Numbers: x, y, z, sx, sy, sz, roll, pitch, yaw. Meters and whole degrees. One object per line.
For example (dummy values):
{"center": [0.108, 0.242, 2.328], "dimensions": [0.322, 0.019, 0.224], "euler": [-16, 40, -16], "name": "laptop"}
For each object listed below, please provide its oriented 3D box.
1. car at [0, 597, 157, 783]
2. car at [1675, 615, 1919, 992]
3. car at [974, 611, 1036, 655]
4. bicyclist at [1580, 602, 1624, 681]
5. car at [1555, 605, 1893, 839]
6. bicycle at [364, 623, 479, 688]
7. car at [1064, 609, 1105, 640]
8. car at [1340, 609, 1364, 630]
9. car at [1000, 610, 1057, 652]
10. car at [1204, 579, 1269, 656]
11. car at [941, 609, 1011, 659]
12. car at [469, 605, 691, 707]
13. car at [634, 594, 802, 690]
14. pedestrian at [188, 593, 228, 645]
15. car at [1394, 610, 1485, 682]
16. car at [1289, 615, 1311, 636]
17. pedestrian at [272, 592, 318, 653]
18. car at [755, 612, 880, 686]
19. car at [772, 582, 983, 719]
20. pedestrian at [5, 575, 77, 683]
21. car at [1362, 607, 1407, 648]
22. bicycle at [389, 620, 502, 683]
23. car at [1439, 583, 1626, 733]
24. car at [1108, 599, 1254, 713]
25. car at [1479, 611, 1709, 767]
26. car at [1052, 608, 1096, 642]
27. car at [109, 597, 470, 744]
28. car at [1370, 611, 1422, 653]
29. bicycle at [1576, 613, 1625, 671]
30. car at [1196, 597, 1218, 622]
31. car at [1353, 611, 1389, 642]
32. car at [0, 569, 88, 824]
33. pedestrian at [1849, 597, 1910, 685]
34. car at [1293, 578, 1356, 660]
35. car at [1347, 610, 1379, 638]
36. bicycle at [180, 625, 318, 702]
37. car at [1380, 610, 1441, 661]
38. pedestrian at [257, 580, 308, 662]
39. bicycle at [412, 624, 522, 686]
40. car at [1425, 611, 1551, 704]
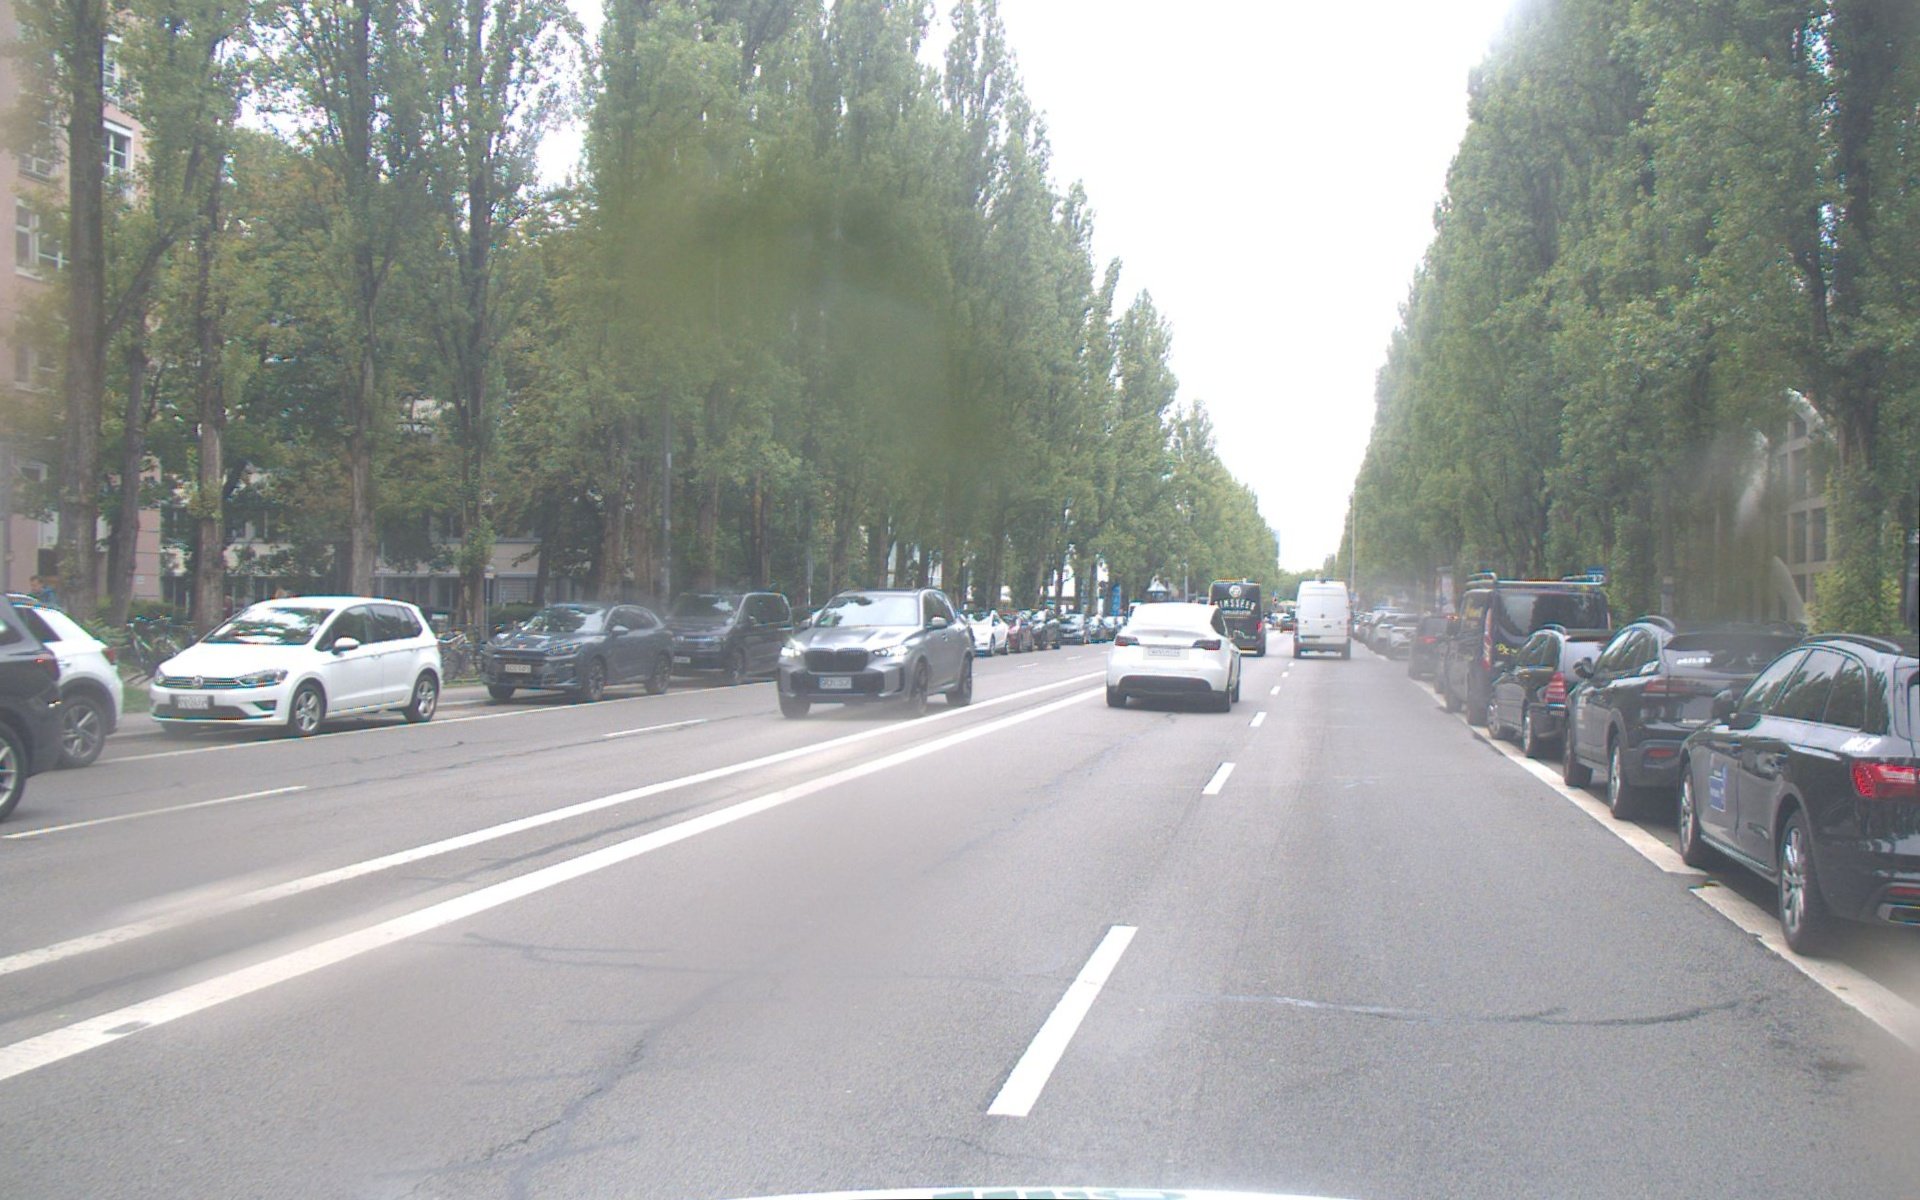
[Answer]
{"center": [-9.033, 0.772, 13.926], "dimensions": [1.762, 1.569, 4.238], "euler": [-1, 0, 14], "name": "car"}
{"center": [4.917, 0.835, 8.393], "dimensions": [1.713, 1.452, 4.451], "euler": [2, 0, 15], "name": "car"}
{"center": [1.778, 1.259, 64.484], "dimensions": [1.724, 1.606, 3.975], "euler": [0, 0, 12], "name": "car"}
{"center": [13.687, 0.886, 35.271], "dimensions": [0.706, 1.647, 0.757], "euler": [-1, 0, 9], "name": "bicyclist"}
{"center": [6.006, 0.855, 13.462], "dimensions": [1.706, 1.553, 3.911], "euler": [2, 0, 13], "name": "car"}
{"center": [-9.932, 1.008, 30.514], "dimensions": [1.940, 1.144, 0.676], "euler": [0, 0, 13], "name": "bicycle"}
{"center": [6.551, 1.267, 86.841], "dimensions": [1.724, 1.606, 3.464], "euler": [0, -1, 11], "name": "car"}
{"center": [33.180, 1.662, 139.987], "dimensions": [1.705, 1.671, 3.954], "euler": [2, 0, 10], "name": "car"}
{"center": [2.928, 1.282, 69.970], "dimensions": [1.724, 1.606, 3.976], "euler": [0, 1, 12], "name": "car"}
{"center": [10.137, 0.622, 60.320], "dimensions": [2.031, 2.600, 5.937], "euler": [2, 0, 11], "name": "car"}
{"center": [0.599, 1.167, 58.830], "dimensions": [1.724, 1.606, 3.976], "euler": [0, 1, 12], "name": "car"}
{"center": [-6.299, 0.881, 27.967], "dimensions": [1.951, 1.569, 4.328], "euler": [0, 0, 13], "name": "car"}
{"center": [-4.922, 0.822, 34.376], "dimensions": [1.951, 1.829, 4.765], "euler": [0, 0, 11], "name": "car"}
{"center": [-24.466, 0.615, 53.837], "dimensions": [0.797, 1.691, 0.898], "euler": [0, -1, 13], "name": "pedestrian"}
{"center": [11.680, 1.091, 40.465], "dimensions": [1.705, 1.619, 3.954], "euler": [2, 0, 10], "name": "car"}
{"center": [28.643, 2.124, 139.486], "dimensions": [1.705, 1.671, 3.954], "euler": [2, 0, 10], "name": "car"}
{"center": [-18.493, 0.619, 45.987], "dimensions": [0.797, 1.691, 0.898], "euler": [0, -1, 13], "name": "pedestrian"}
{"center": [-3.353, 1.126, 39.815], "dimensions": [1.951, 1.635, 4.356], "euler": [0, 0, 10], "name": "car"}
{"center": [-1.049, 0.672, 23.739], "dimensions": [1.951, 1.746, 4.763], "euler": [-1, -1, 10], "name": "car"}
{"center": [-15.097, 0.466, 27.179], "dimensions": [0.692, 1.744, 0.732], "euler": [0, -1, 13], "name": "pedestrian"}
{"center": [19.983, 1.268, 77.961], "dimensions": [1.705, 1.818, 3.954], "euler": [2, 0, 10], "name": "car"}
{"center": [-9.716, 0.968, 31.251], "dimensions": [1.940, 1.144, 0.676], "euler": [0, 0, 13], "name": "bicycle"}
{"center": [8.445, 0.800, 24.817], "dimensions": [1.870, 1.958, 5.044], "euler": [2, 0, 10], "name": "car"}
{"center": [3.648, 0.827, 26.604], "dimensions": [1.951, 1.603, 4.642], "euler": [2, 0, 12], "name": "car"}
{"center": [7.250, 0.937, 19.316], "dimensions": [1.705, 1.553, 4.238], "euler": [2, 0, 10], "name": "car"}
{"center": [5.765, 1.234, 83.200], "dimensions": [1.724, 1.606, 3.464], "euler": [0, 0, 12], "name": "car"}
{"center": [-7.936, 0.768, 20.098], "dimensions": [1.951, 1.569, 4.328], "euler": [0, 0, 12], "name": "car"}
{"center": [17.411, 1.255, 66.181], "dimensions": [1.705, 1.573, 3.954], "euler": [2, 0, 10], "name": "car"}
{"center": [13.654, 0.893, 35.297], "dimensions": [0.701, 1.168, 1.901], "euler": [-3, -2, 14], "name": "bicycle"}
{"center": [30.008, 1.123, 200.583], "dimensions": [2.146, 2.766, 7.007], "euler": [0, 1, 12], "name": "car"}
{"center": [23.169, 1.466, 93.281], "dimensions": [1.705, 1.671, 3.954], "euler": [2, 0, 10], "name": "car"}
{"center": [-7.562, 0.644, 9.582], "dimensions": [1.951, 1.671, 4.555], "euler": [-1, 0, 12], "name": "car"}
{"center": [18.847, 0.833, 33.933], "dimensions": [0.889, 1.783, 0.861], "euler": [0, -1, 13], "name": "pedestrian"}
{"center": [12.931, 0.643, 58.861], "dimensions": [1.996, 2.698, 6.047], "euler": [2, 0, 12], "name": "car"}
{"center": [25.439, 1.515, 104.385], "dimensions": [1.705, 1.671, 3.954], "euler": [2, 0, 10], "name": "car"}
{"center": [-11.109, 0.986, 25.857], "dimensions": [1.940, 1.144, 0.676], "euler": [0, 0, 13], "name": "bicycle"}
{"center": [15.793, 1.211, 58.131], "dimensions": [1.705, 1.671, 3.954], "euler": [2, 0, 10], "name": "car"}
{"center": [-14.498, 0.448, 35.411], "dimensions": [0.692, 1.744, 0.732], "euler": [0, -1, 13], "name": "pedestrian"}
{"center": [-9.540, 1.060, 32.027], "dimensions": [1.940, 1.144, 0.676], "euler": [0, 0, 13], "name": "bicycle"}
{"center": [9.719, 1.019, 30.688], "dimensions": [1.705, 1.553, 3.954], "euler": [2, 0, 10], "name": "car"}
